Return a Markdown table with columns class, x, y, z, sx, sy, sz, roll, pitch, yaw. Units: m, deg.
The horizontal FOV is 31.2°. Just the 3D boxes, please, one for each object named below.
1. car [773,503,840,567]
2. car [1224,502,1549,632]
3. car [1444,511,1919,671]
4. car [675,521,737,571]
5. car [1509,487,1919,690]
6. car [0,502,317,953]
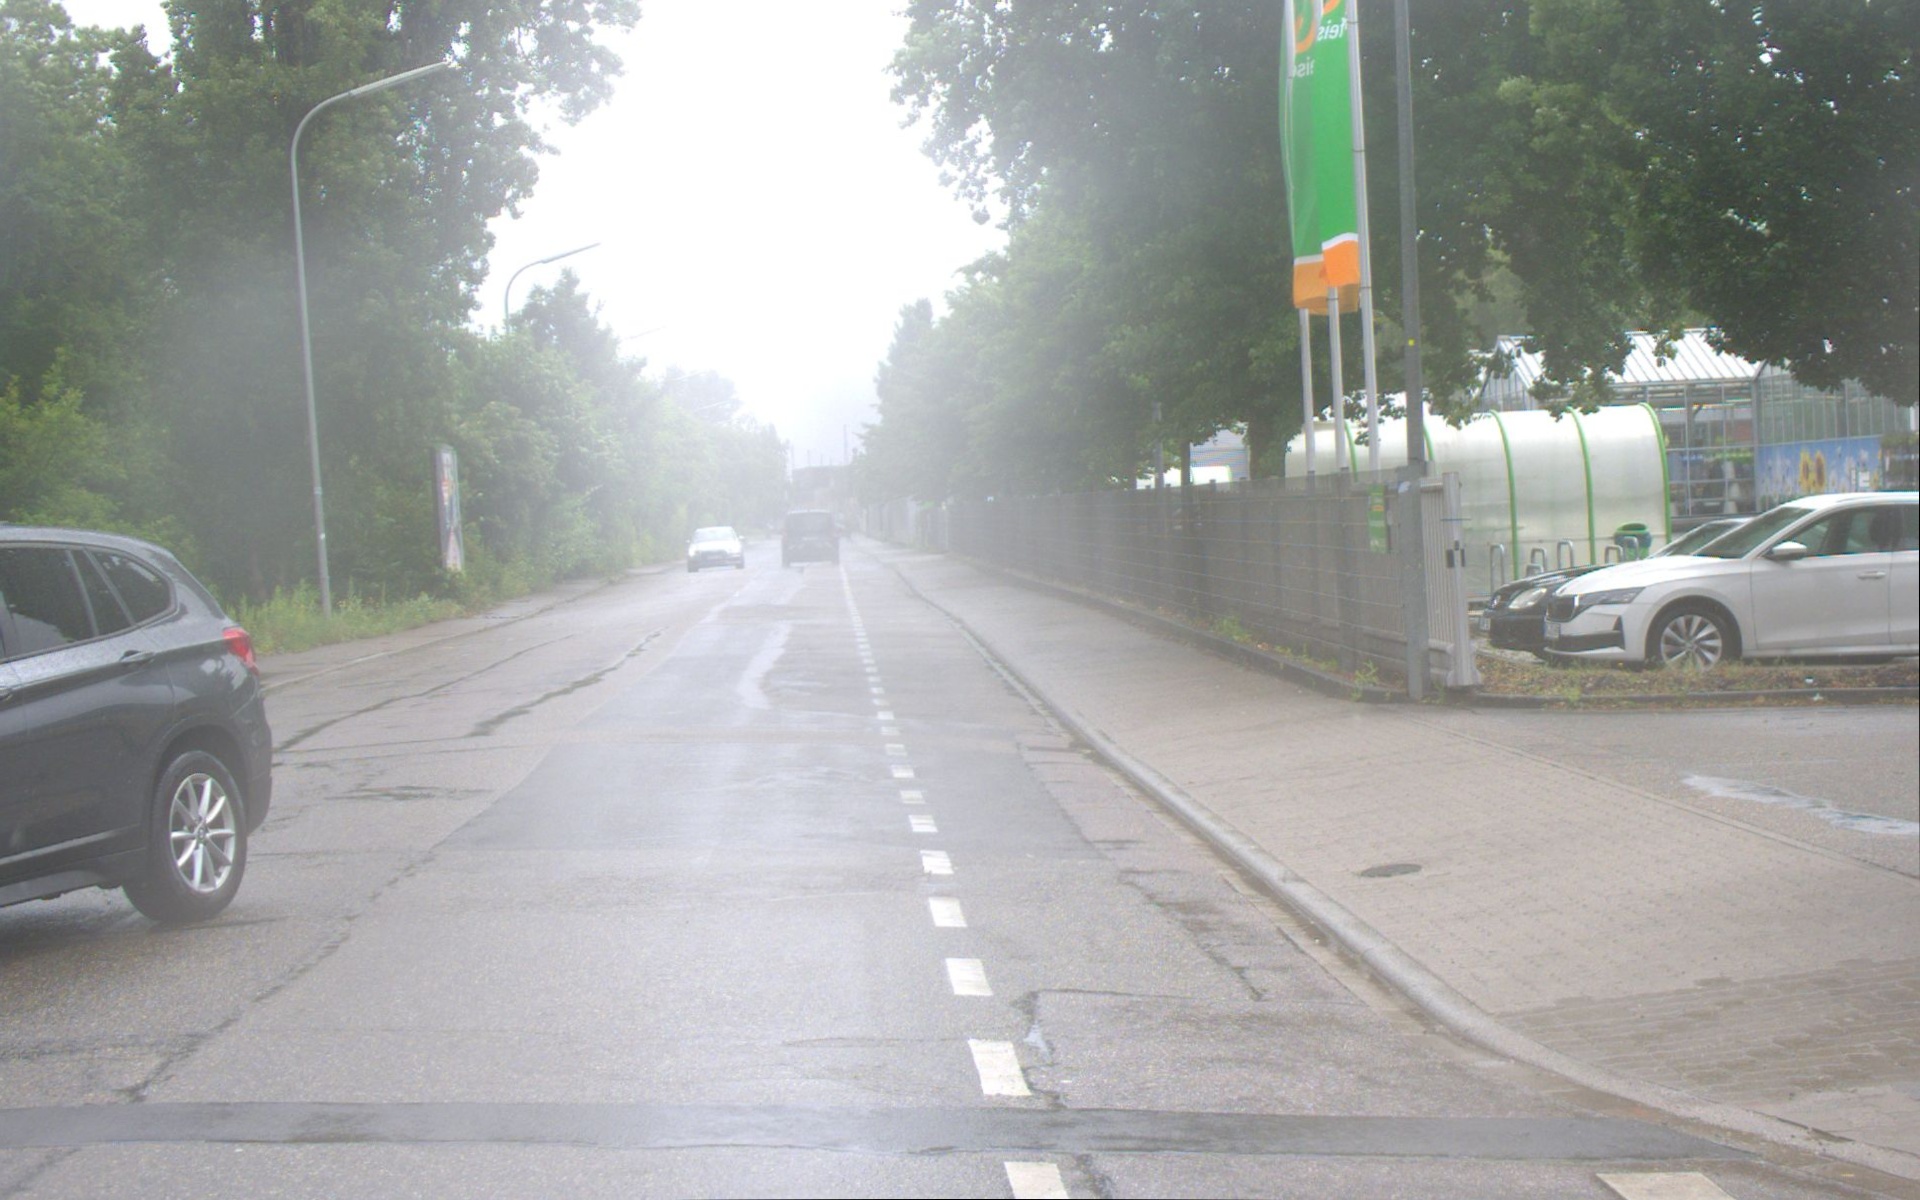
| class | x | y | z | sx | sy | sz | roll | pitch | yaw |
| --- | --- | --- | --- | --- | --- | --- | --- | --- | --- |
| car | -4.911 | -2.064 | 109.633 | 1.993 | 1.904 | 4.201 | -3 | 1 | -3 |
| car | 5.961 | -0.476 | 48.351 | 4.208 | 1.595 | 1.824 | -3 | 2 | -3 |
| car | 6.362 | -0.098 | 30.113 | 3.938 | 1.252 | 1.619 | -2 | 1 | -3 |
| car | -8.383 | -1.802 | 113.719 | 1.733 | 1.445 | 4.381 | -5 | 1 | -1 |
| car | 6.927 | -0.144 | 27.400 | 4.702 | 1.457 | 1.891 | -2 | 1 | -3 |
| car | -4.272 | 0.532 | 12.516 | 1.761 | 1.563 | 4.146 | -4 | 1 | 21 |
